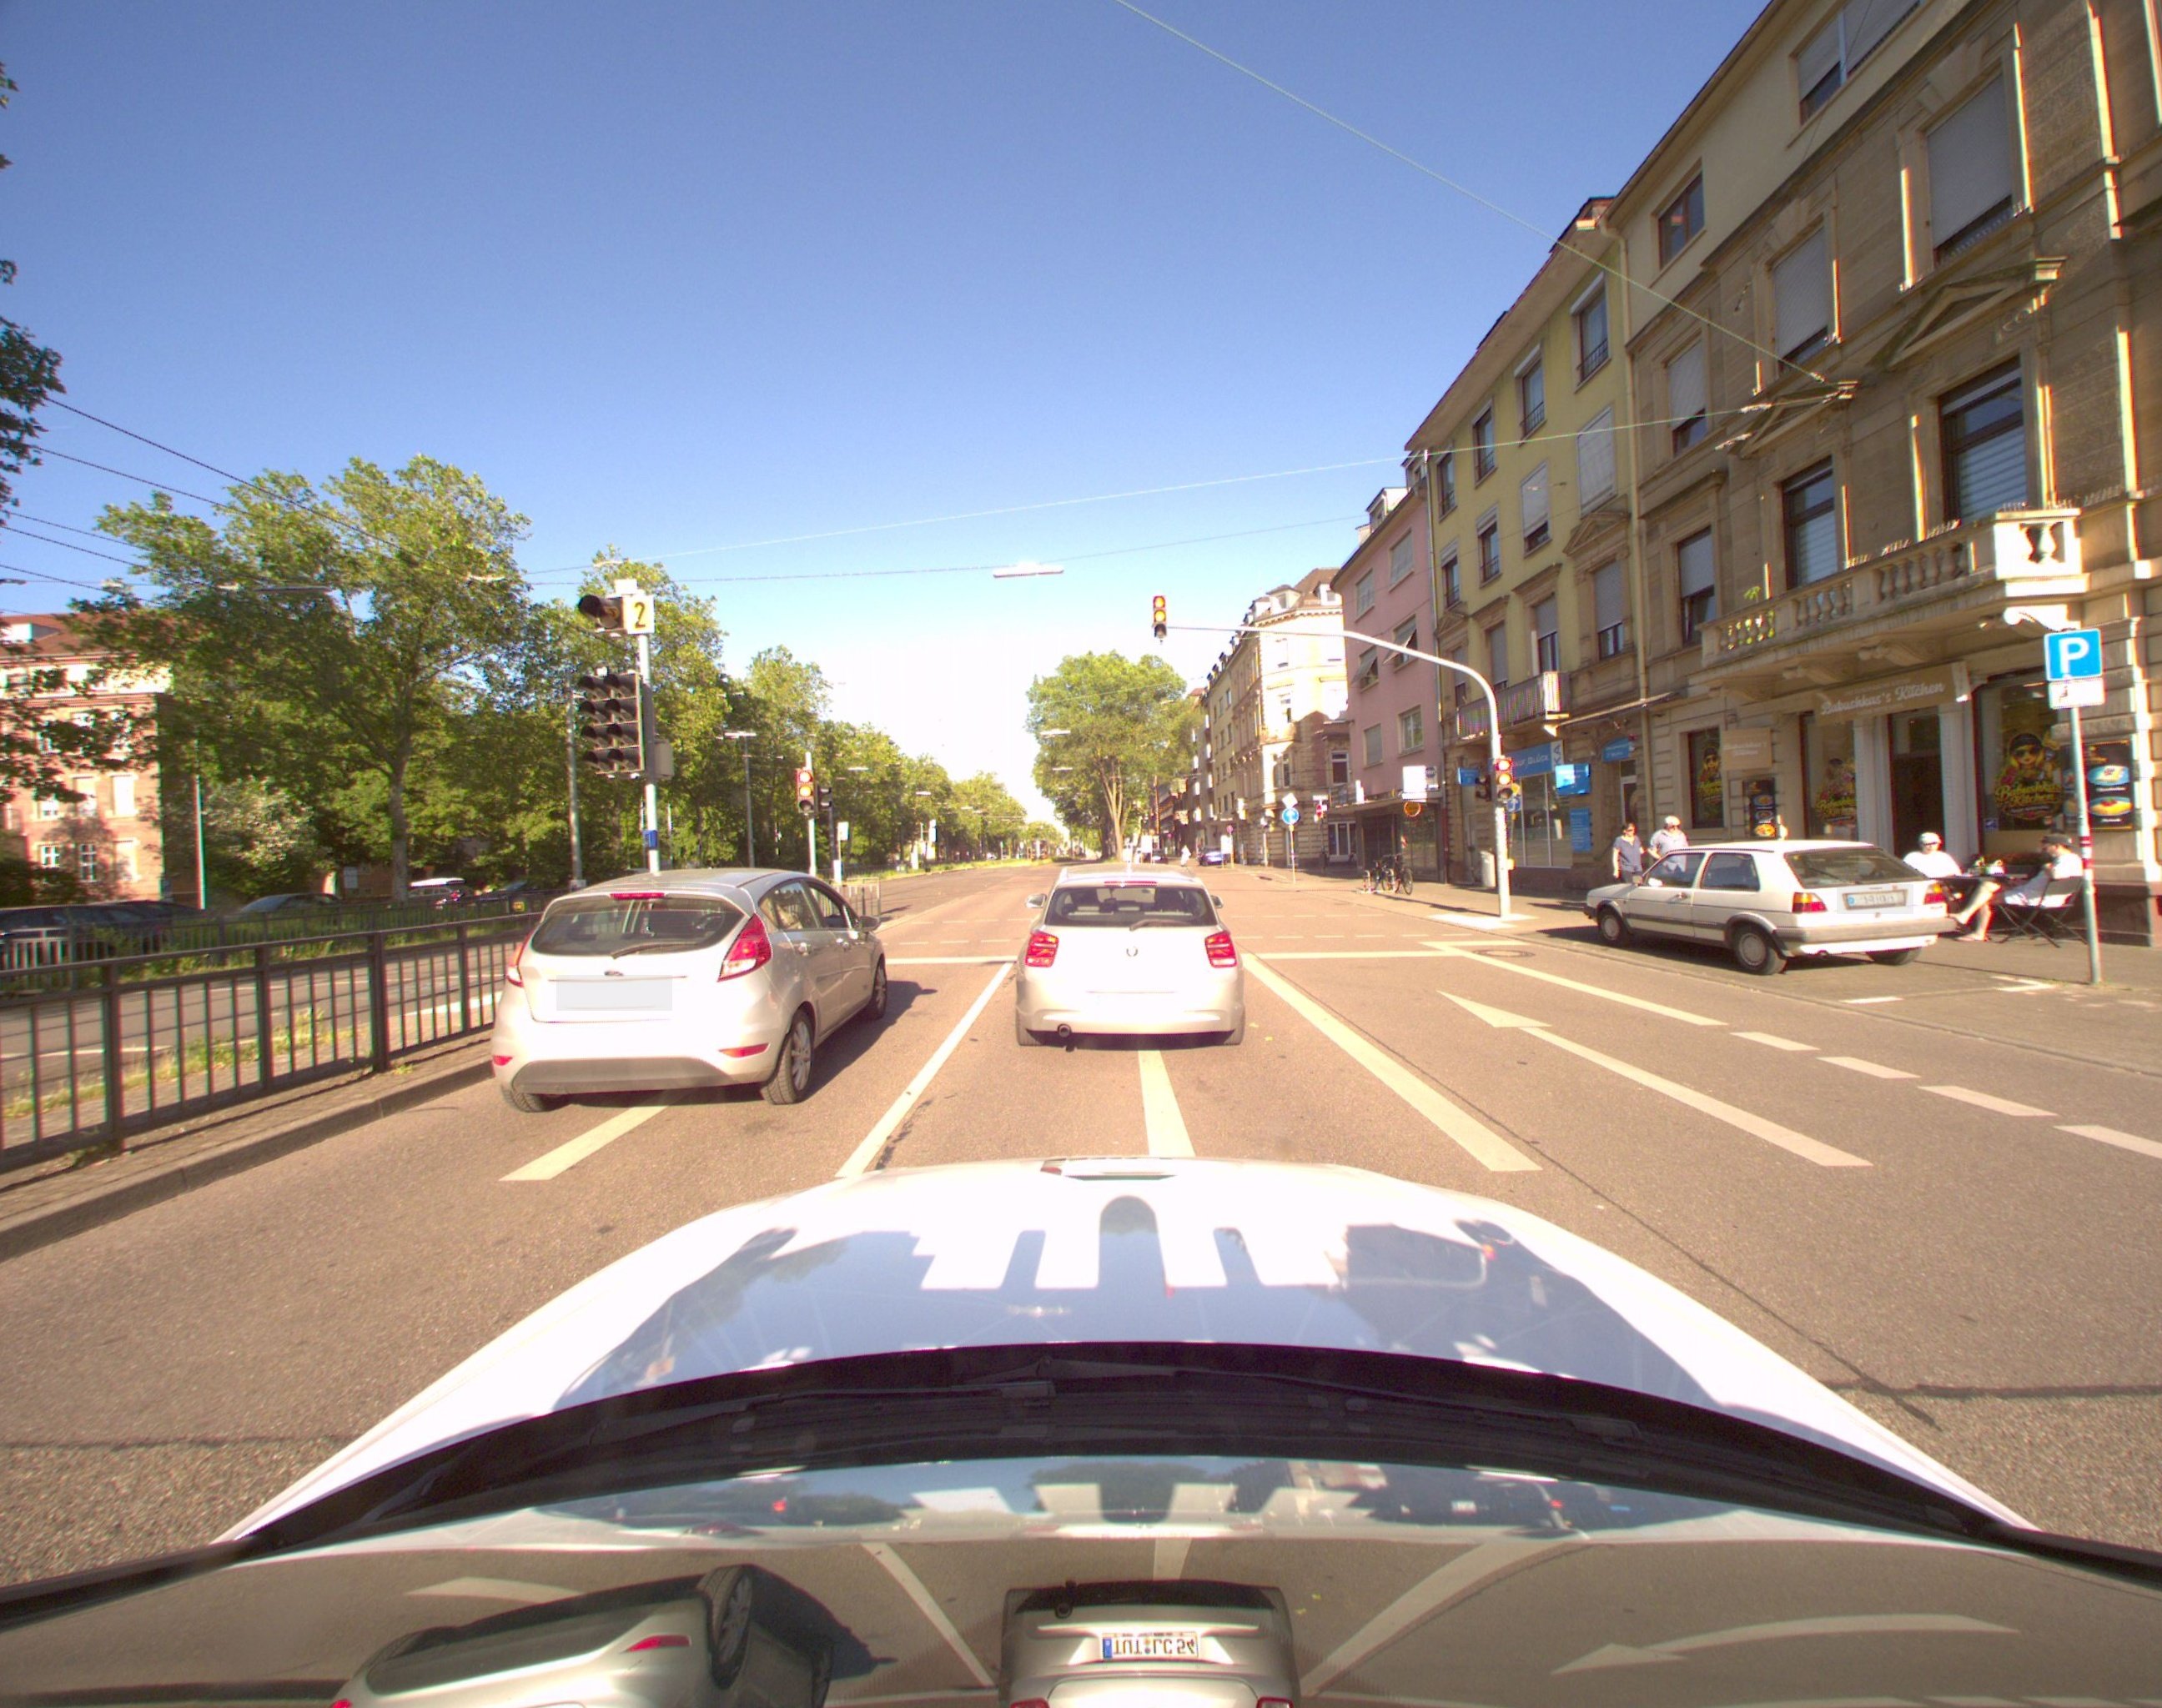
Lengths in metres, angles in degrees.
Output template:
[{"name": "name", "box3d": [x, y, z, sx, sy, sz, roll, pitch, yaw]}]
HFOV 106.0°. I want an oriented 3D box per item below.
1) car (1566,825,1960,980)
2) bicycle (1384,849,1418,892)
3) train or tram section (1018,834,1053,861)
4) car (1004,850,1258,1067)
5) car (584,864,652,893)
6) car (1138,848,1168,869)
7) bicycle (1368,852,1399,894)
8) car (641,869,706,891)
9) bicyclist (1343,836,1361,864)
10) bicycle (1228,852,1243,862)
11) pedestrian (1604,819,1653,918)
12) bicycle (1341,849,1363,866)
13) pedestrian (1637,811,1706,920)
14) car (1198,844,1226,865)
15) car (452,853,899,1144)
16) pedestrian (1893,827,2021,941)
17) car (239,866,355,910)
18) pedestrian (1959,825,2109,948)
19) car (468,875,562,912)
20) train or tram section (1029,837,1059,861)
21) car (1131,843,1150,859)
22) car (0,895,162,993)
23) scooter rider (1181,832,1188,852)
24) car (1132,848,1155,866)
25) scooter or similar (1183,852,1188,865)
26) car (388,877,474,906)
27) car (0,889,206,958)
[{"name": "car", "box3d": [8.049, 0.475, 10.194, 1.557, 1.415, 4.005, -6, 0, 2]}, {"name": "bicycle", "box3d": [9.146, 0.445, 23.317, 0.446, 1.159, 1.762, -2, 0, 8]}, {"name": "train or tram section", "box3d": [-7.161, -1.000, 130.684, 3.954, 3.865, 17.496, -2, 0, 2]}, {"name": "car", "box3d": [0.403, 0.708, 7.603, 1.733, 1.467, 4.002, -1, 0, 2]}, {"name": "car", "box3d": [-27.806, 1.431, 49.060, 1.664, 1.509, 4.145, -2, 0, 0]}, {"name": "car", "box3d": [5.119, 0.295, 58.259, 1.731, 1.433, 3.675, -1, 0, -2]}, {"name": "bicycle", "box3d": [8.651, 0.523, 23.333, 0.411, 1.140, 1.814, -2, 0, 8]}, {"name": "car", "box3d": [-27.489, 1.711, 55.130, 1.929, 1.349, 4.849, -2, -1, 0]}, {"name": "bicyclist", "box3d": [15.237, -0.237, 45.718, 0.541, 1.502, 0.967, -2, 0, 43]}, {"name": "bicycle", "box3d": [12.165, 0.216, 64.219, 0.752, 0.770, 1.945, -2, 0, 0]}, {"name": "pedestrian", "box3d": [9.692, 0.254, 14.415, 0.547, 1.708, 0.389, -2, 0, 4]}, {"name": "bicycle", "box3d": [15.195, 0.210, 45.663, 0.646, 0.903, 1.346, -2, 0, 43]}, {"name": "pedestrian", "box3d": [10.277, 0.189, 14.191, 0.670, 1.806, 0.531, -5, 0, 1]}, {"name": "car", "box3d": [10.248, 0.020, 63.878, 1.729, 1.519, 3.637, -1, 0, 1]}, {"name": "car", "box3d": [-2.604, 0.768, 6.329, 1.605, 1.467, 3.886, -2, 0, -3]}, {"name": "pedestrian", "box3d": [10.686, 0.353, 9.956, 0.795, 1.281, 0.608, -6, 0, -1]}, {"name": "car", "box3d": [-40.393, 1.716, 42.120, 1.986, 2.013, 4.002, -2, 0, 2]}, {"name": "pedestrian", "box3d": [10.833, 0.351, 9.281, 0.899, 1.281, 0.655, -5, 0, -4]}, {"name": "car", "box3d": [-27.783, 1.884, 40.140, 1.664, 1.509, 4.145, -2, 0, 0]}, {"name": "train or tram section", "box3d": [-6.589, -0.900, 148.208, 3.990, 3.865, 17.496, -2, 0, 2]}, {"name": "car", "box3d": [6.015, -0.286, 82.318, 1.719, 1.507, 3.555, -1, 0, 0]}, {"name": "car", "box3d": [-18.940, 1.604, 13.852, 1.679, 1.498, 4.341, -2, 0, -1]}, {"name": "scooter rider", "box3d": [7.969, -0.903, 62.606, 0.463, 1.505, 0.813, -2, 0, 8]}, {"name": "car", "box3d": [5.278, 0.249, 69.370, 1.719, 1.507, 3.555, -1, 0, 0]}, {"name": "scooter or similar", "box3d": [8.037, 0.319, 62.610, 0.335, 0.988, 1.287, -2, 0, 7]}, {"name": "car", "box3d": [-37.900, 2.180, 47.508, 3.968, 1.494, 1.396, -2, 0, 5]}, {"name": "car", "box3d": [-27.847, 1.901, 23.009, 1.664, 1.509, 4.145, -2, 1, 0]}]
